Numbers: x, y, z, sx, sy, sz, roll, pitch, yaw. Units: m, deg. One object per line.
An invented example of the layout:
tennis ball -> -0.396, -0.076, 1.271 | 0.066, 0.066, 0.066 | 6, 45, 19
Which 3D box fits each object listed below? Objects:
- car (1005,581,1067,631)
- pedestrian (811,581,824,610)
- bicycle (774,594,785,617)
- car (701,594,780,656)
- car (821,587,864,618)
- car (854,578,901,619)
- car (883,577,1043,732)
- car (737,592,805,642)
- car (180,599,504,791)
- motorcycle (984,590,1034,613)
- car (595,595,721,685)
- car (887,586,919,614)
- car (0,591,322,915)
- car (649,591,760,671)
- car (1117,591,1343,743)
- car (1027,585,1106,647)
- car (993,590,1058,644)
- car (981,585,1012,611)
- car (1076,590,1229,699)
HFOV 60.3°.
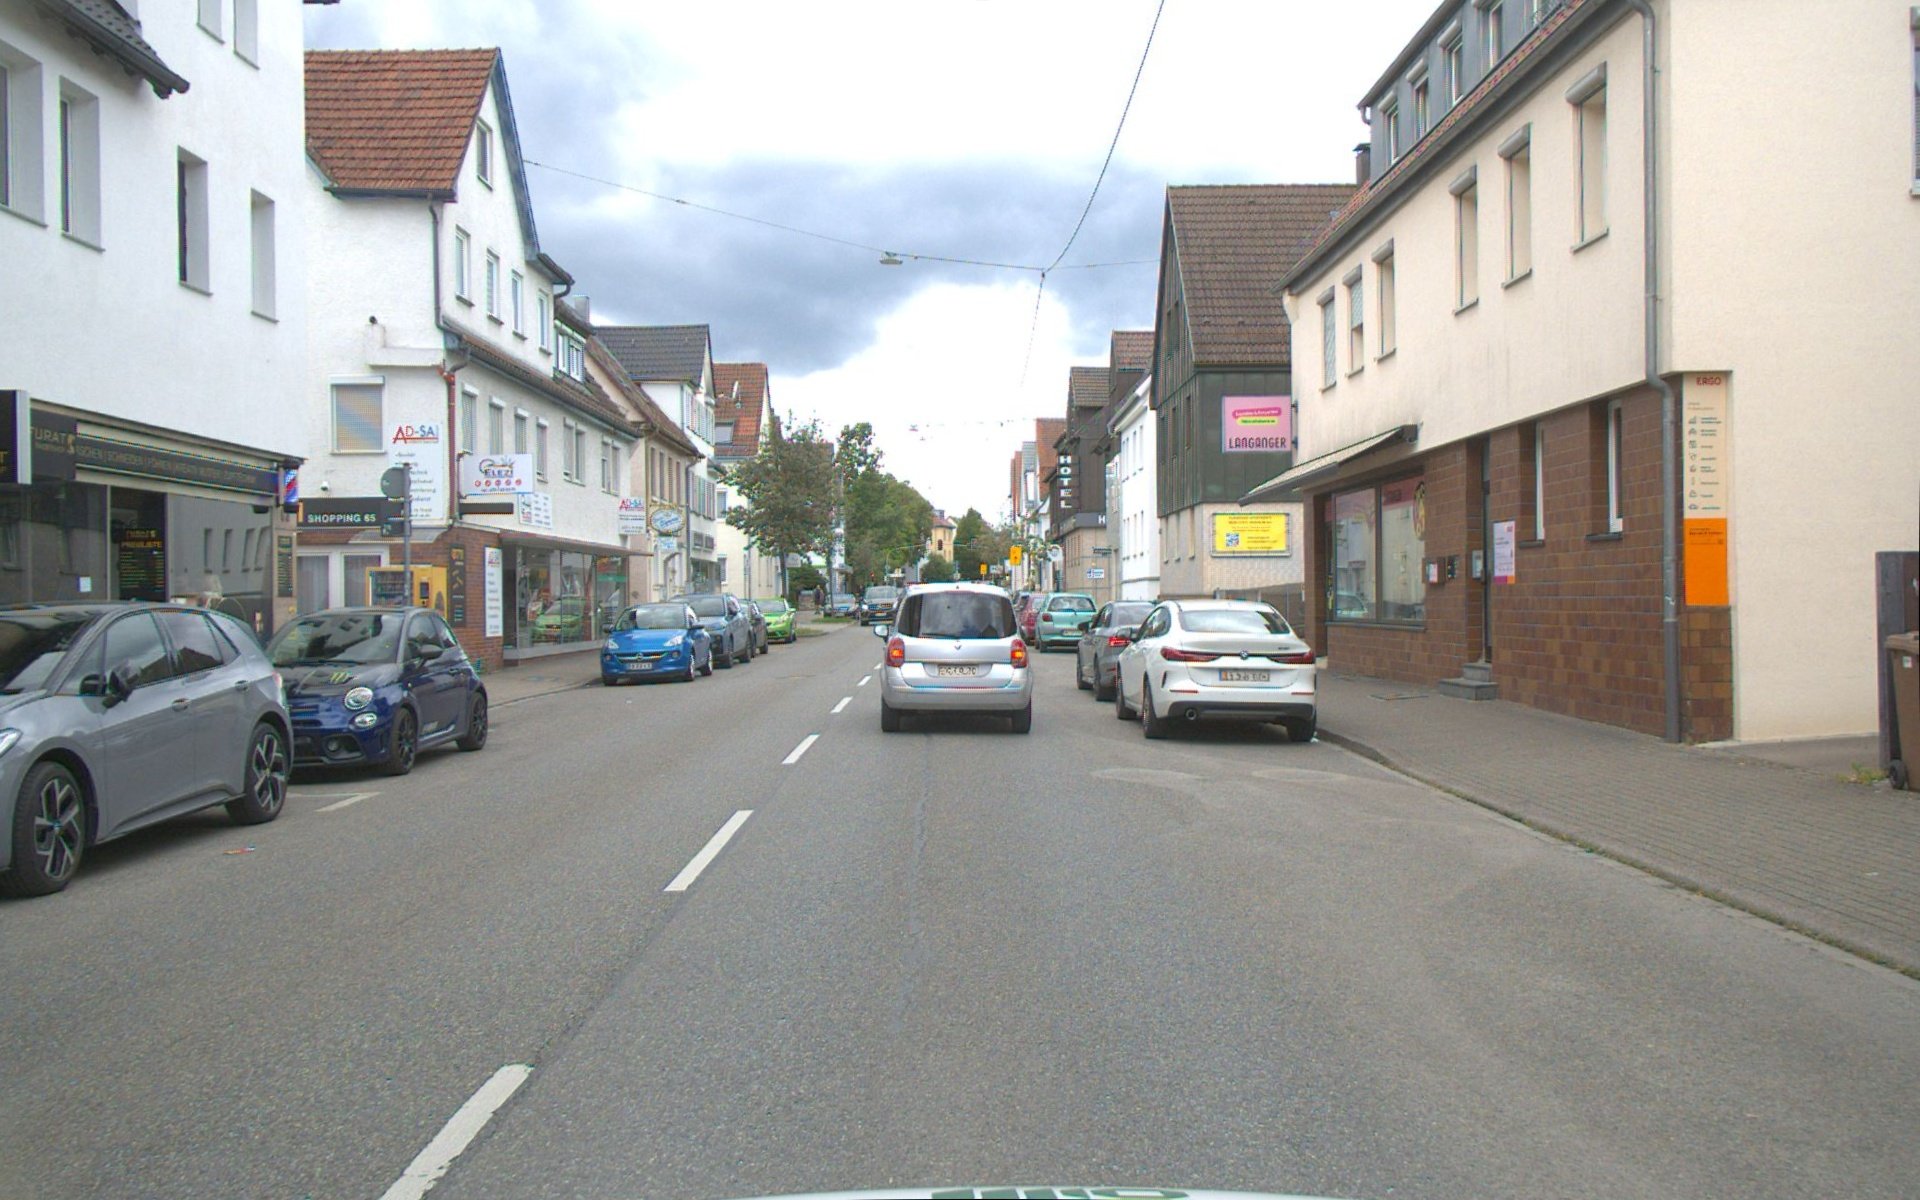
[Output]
car -> 2.457, 0.188, 54.324 | 1.837, 1.566, 4.512 | 0, 0, 0
pedestrian -> -8.837, -0.278, 102.310 | 0.747, 1.822, 0.890 | 0, 0, -1
bicycle -> -9.239, 0.259, 84.667 | 0.504, 1.174, 1.665 | 0, 0, -3
car -> -5.669, 0.608, 43.116 | 1.549, 1.534, 3.812 | 0, 0, 0
car -> -6.271, 0.129, 88.565 | 1.909, 1.493, 4.516 | -3, 0, 0
car -> -3.791, -0.084, 76.558 | 1.862, 1.767, 4.366 | -2, 0, 0
car -> 0.035, 0.554, 19.094 | 1.648, 1.593, 3.993 | 0, 0, 0
car -> -6.016, 0.501, 52.982 | 1.648, 1.473, 4.020 | -2, 0, 0
car -> -5.667, 0.790, 15.632 | 1.648, 1.519, 3.591 | -2, 0, 0
motorcycle -> 2.607, 0.097, 87.234 | 2.700, 1.204, 0.693 | 0, 0, -31
car -> -5.707, 0.715, 31.657 | 1.648, 1.525, 3.775 | -2, 0, 0
car -> -3.459, -0.019, 100.886 | 1.758, 1.606, 4.192 | -3, 0, 0
car -> -5.590, 0.781, 10.163 | 1.675, 1.593, 4.113 | -2, 0, 0
car -> -5.716, 0.652, 37.438 | 1.766, 1.627, 4.304 | -2, 0, 0
car -> 2.837, 0.642, 18.294 | 1.793, 1.471, 4.331 | 0, 0, 0
car -> 2.728, 0.393, 43.144 | 1.793, 1.524, 3.993 | 0, 0, 0
car -> 1.854, 0.458, 47.961 | 1.719, 1.471, 4.454 | 0, 0, 0
car -> 2.096, -0.130, 96.233 | 1.666, 1.492, 4.238 | 0, 0, -1
car -> 2.752, 0.593, 24.475 | 1.793, 1.471, 4.110 | 0, 0, 0
